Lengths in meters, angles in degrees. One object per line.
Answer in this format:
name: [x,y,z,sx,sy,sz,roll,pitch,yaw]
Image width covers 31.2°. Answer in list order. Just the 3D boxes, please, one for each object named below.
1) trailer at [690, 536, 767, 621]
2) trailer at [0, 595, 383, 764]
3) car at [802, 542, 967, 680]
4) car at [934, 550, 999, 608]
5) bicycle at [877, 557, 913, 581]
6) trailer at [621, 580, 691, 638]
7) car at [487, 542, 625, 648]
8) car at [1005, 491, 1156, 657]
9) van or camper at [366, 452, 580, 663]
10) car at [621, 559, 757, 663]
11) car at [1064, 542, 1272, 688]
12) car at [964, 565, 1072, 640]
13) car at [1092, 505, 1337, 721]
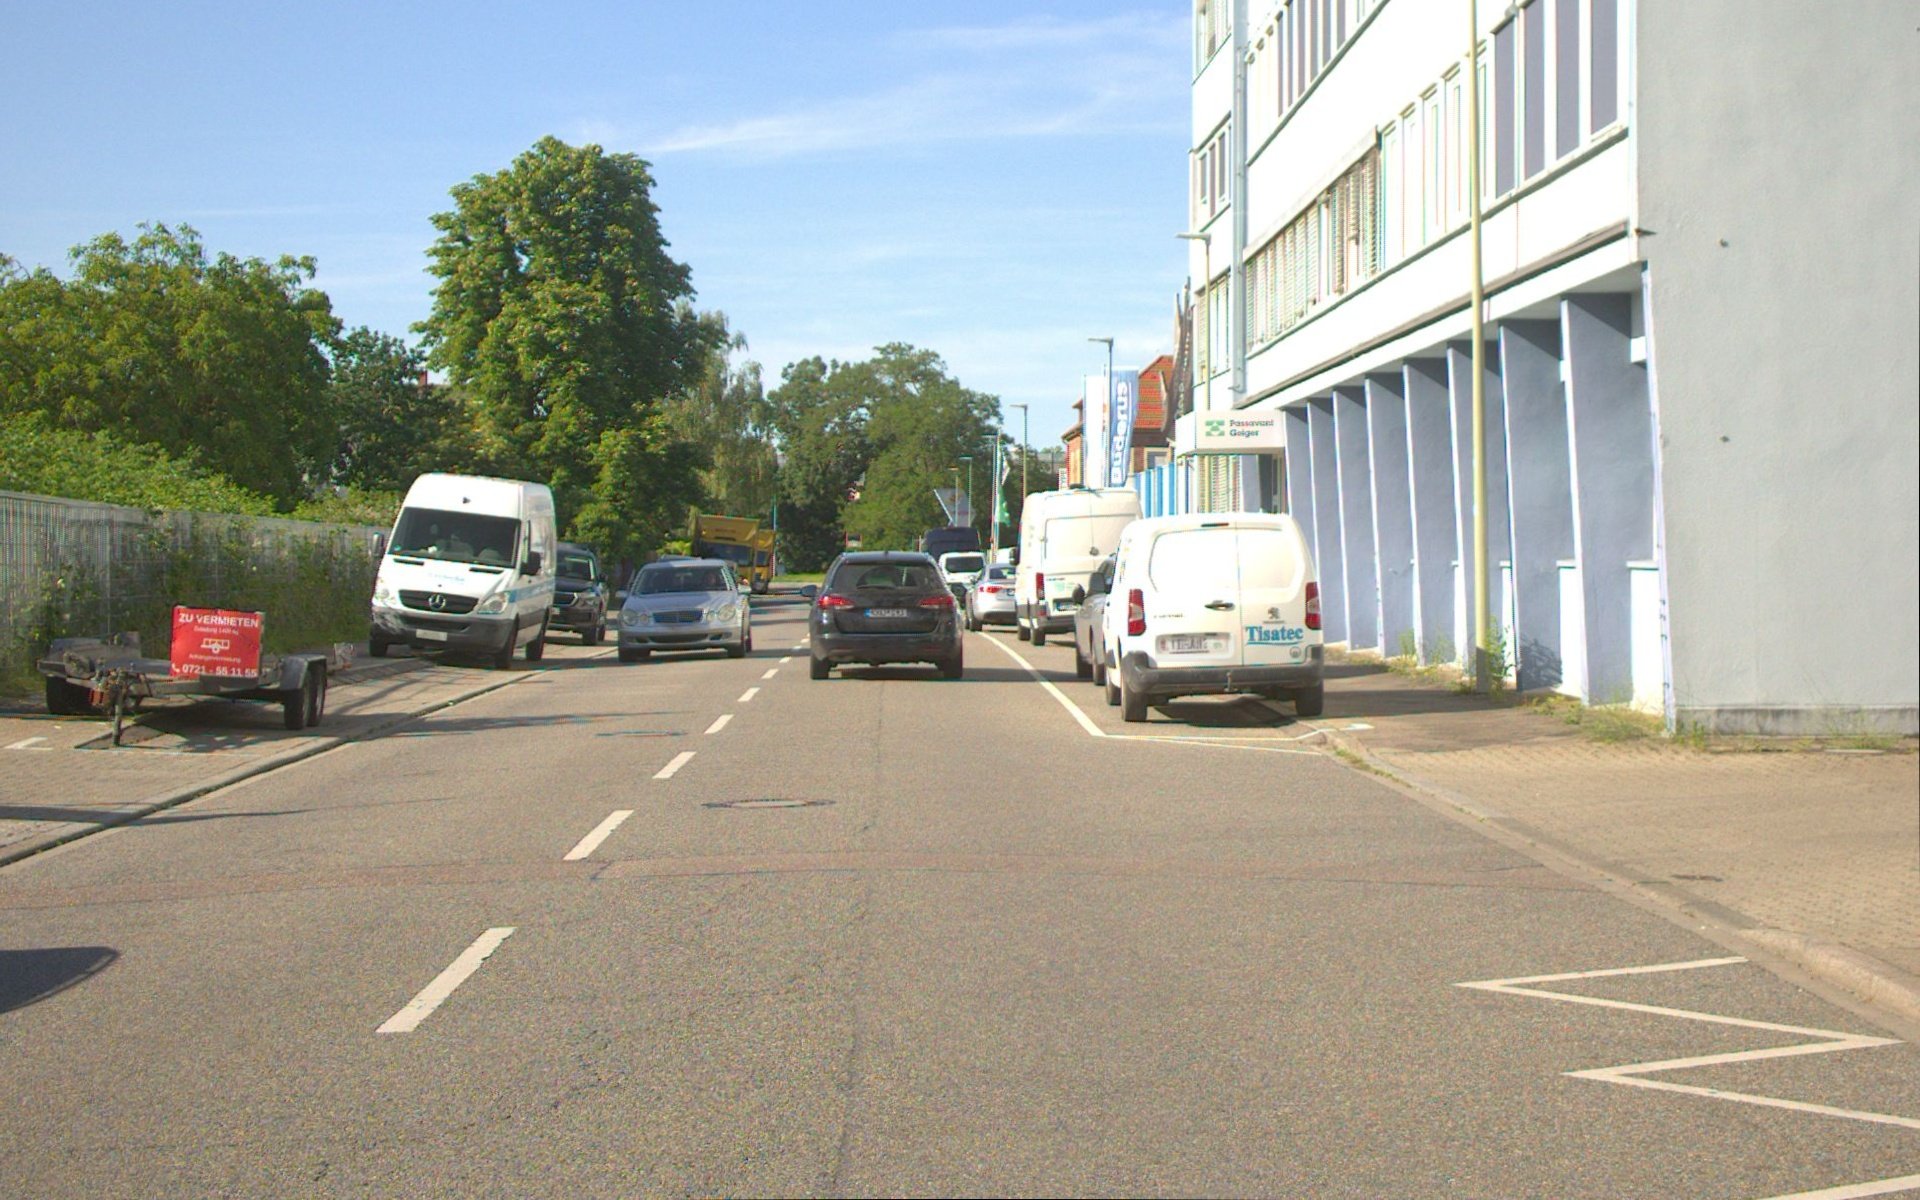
trailer: [-9.564,-0.876,142.615,2.991,3.431,8.162,0,0,-3]
trailer: [-6.768,0.625,30.440,2.376,1.076,6.246,4,1,-2]
car: [-0.868,0.109,40.455,1.847,1.525,4.000,0,0,-1]
car: [0.206,-0.667,113.763,1.885,1.791,5.104,2,0,-2]
bicycle: [-3.566,-1.695,189.130,0.803,1.264,2.258,2,0,-36]
trailer: [-7.374,0.218,83.560,1.476,1.349,3.079,2,0,-1]
car: [-7.268,-0.106,62.329,2.030,1.688,5.107,4,0,-3]
car: [1.960,-0.474,57.853,1.993,2.589,6.052,-2,1,-2]
van or camper: [-6.882,-0.590,49.223,1.966,2.676,5.947,5,0,0]
car: [-3.981,0.138,51.108,1.747,1.442,4.361,1,0,-1]
car: [2.331,0.153,39.734,1.889,1.555,5.091,1,0,-2]
car: [1.132,0.055,69.415,1.894,1.400,5.124,2,0,-2]
car: [2.276,0.103,32.021,1.889,1.826,5.090,1,0,0]
